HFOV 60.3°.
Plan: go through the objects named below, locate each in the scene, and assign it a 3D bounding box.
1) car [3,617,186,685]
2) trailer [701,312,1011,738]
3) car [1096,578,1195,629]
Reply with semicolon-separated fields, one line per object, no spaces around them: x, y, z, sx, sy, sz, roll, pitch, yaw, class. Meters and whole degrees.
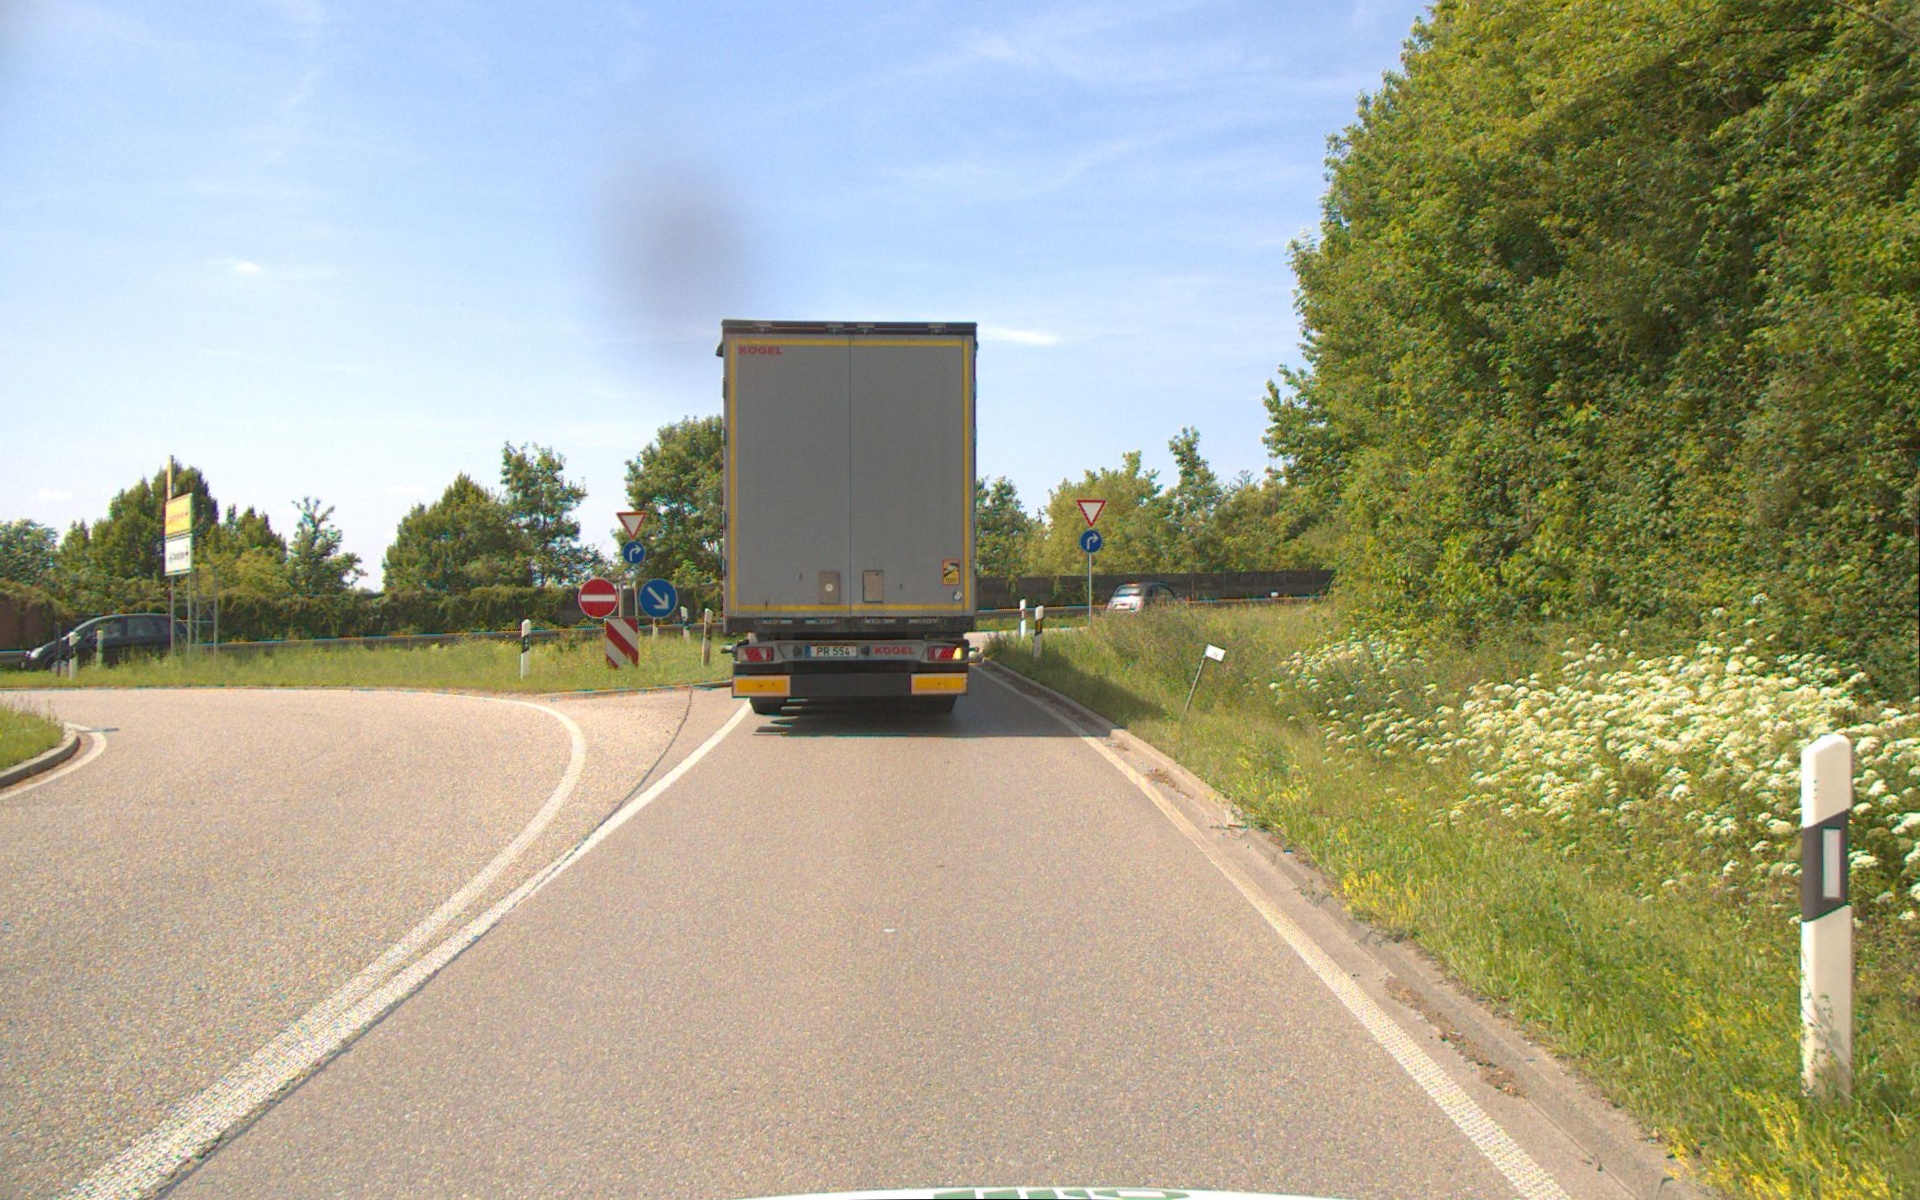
-22.462;1.278;42.969;4.056;1.565;1.735;-2;1;-33;car
-1.378;-0.813;22.705;2.967;4.105;13.343;-1;1;-3;trailer
5.999;0.090;53.101;1.635;1.512;3.991;-1;1;31;car
